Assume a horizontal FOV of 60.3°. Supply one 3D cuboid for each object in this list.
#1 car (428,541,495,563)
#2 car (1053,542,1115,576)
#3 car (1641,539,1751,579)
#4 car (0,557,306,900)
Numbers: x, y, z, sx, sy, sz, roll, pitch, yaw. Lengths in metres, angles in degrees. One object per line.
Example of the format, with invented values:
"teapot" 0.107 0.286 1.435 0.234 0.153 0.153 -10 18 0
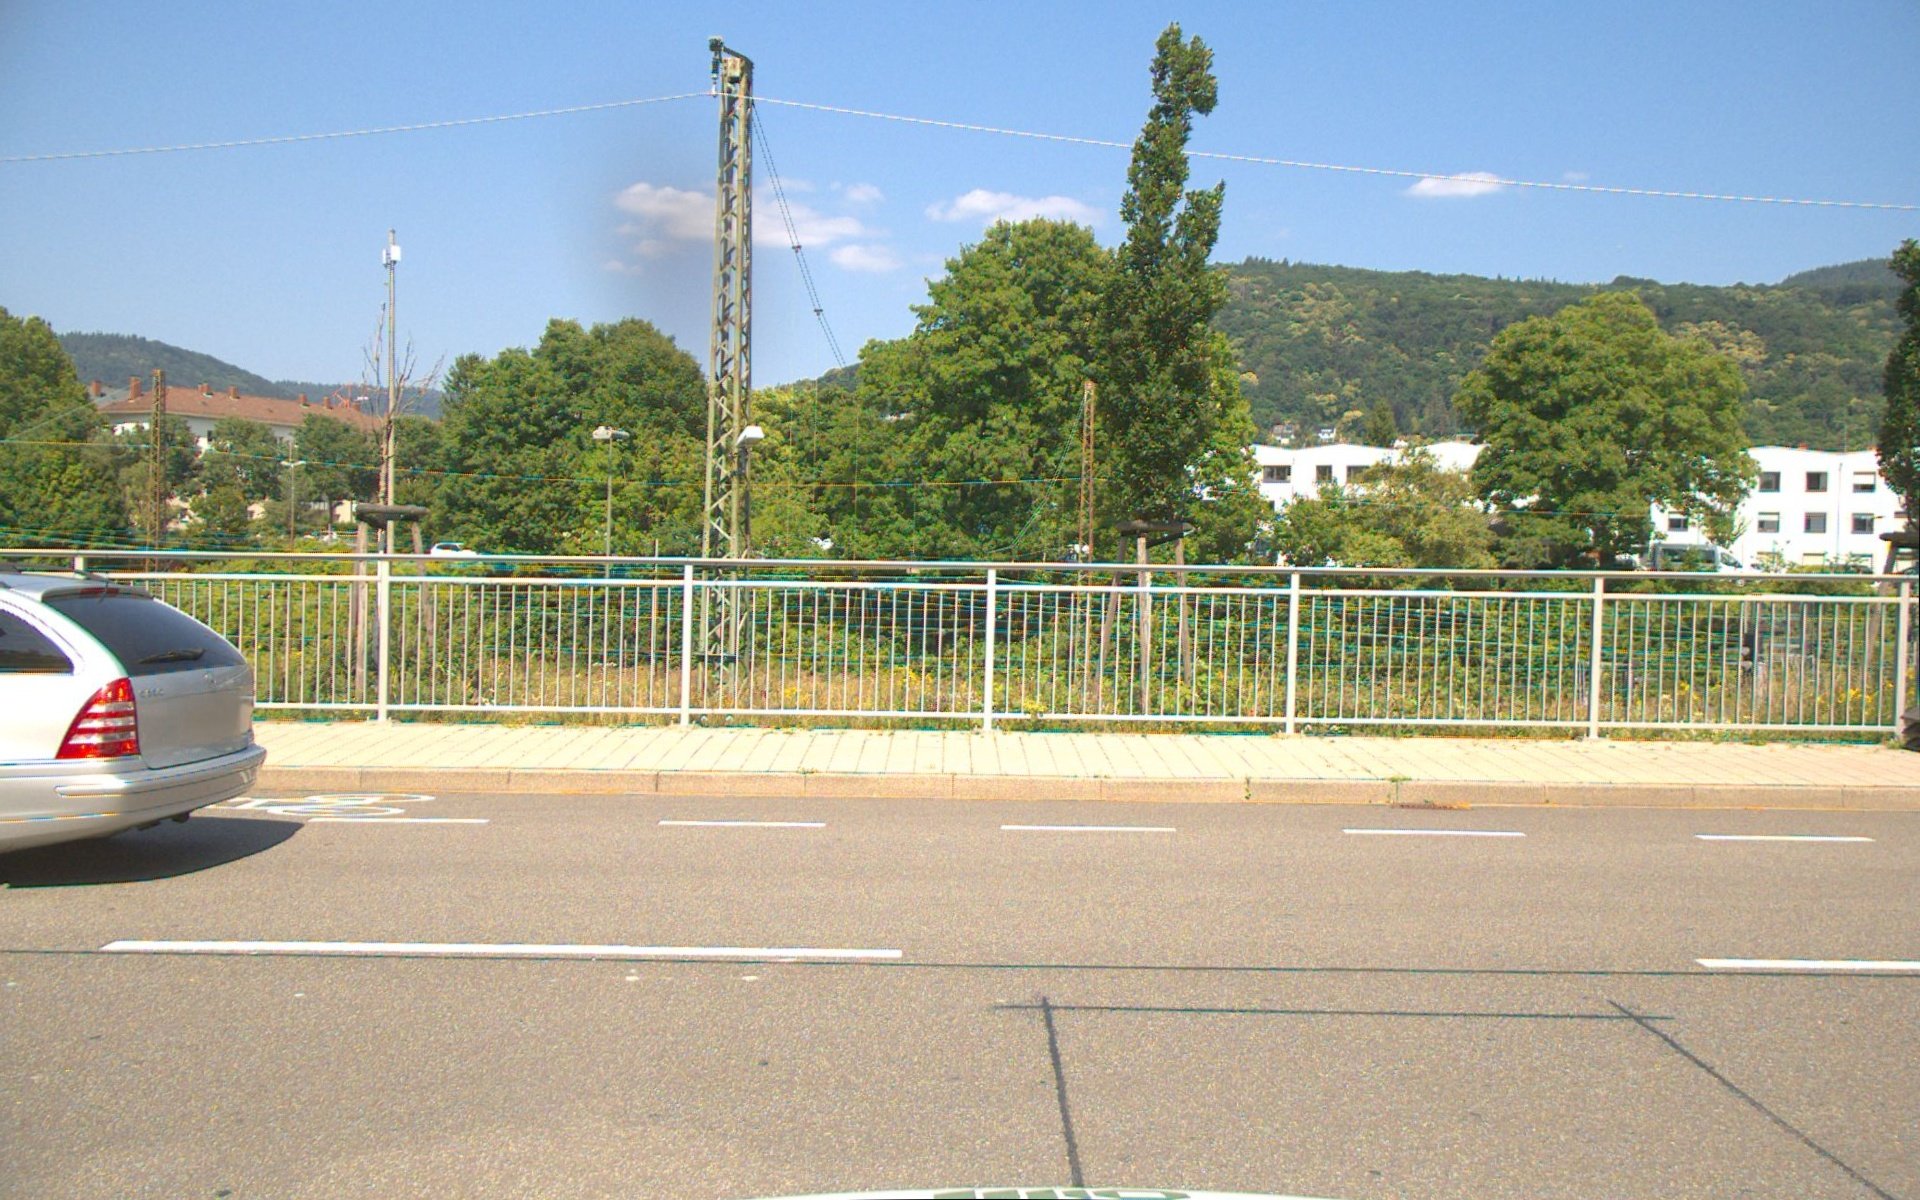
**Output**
"car" -33.177 -3.186 110.080 4.220 1.390 1.863 2 2 29
"car" 8.344 -2.745 111.284 3.838 2.049 1.756 -1 -3 17
"car" 42.632 -2.364 95.918 5.383 2.139 2.136 -1 -3 10
"car" -5.556 0.510 7.751 4.283 1.428 1.714 1 0 0
